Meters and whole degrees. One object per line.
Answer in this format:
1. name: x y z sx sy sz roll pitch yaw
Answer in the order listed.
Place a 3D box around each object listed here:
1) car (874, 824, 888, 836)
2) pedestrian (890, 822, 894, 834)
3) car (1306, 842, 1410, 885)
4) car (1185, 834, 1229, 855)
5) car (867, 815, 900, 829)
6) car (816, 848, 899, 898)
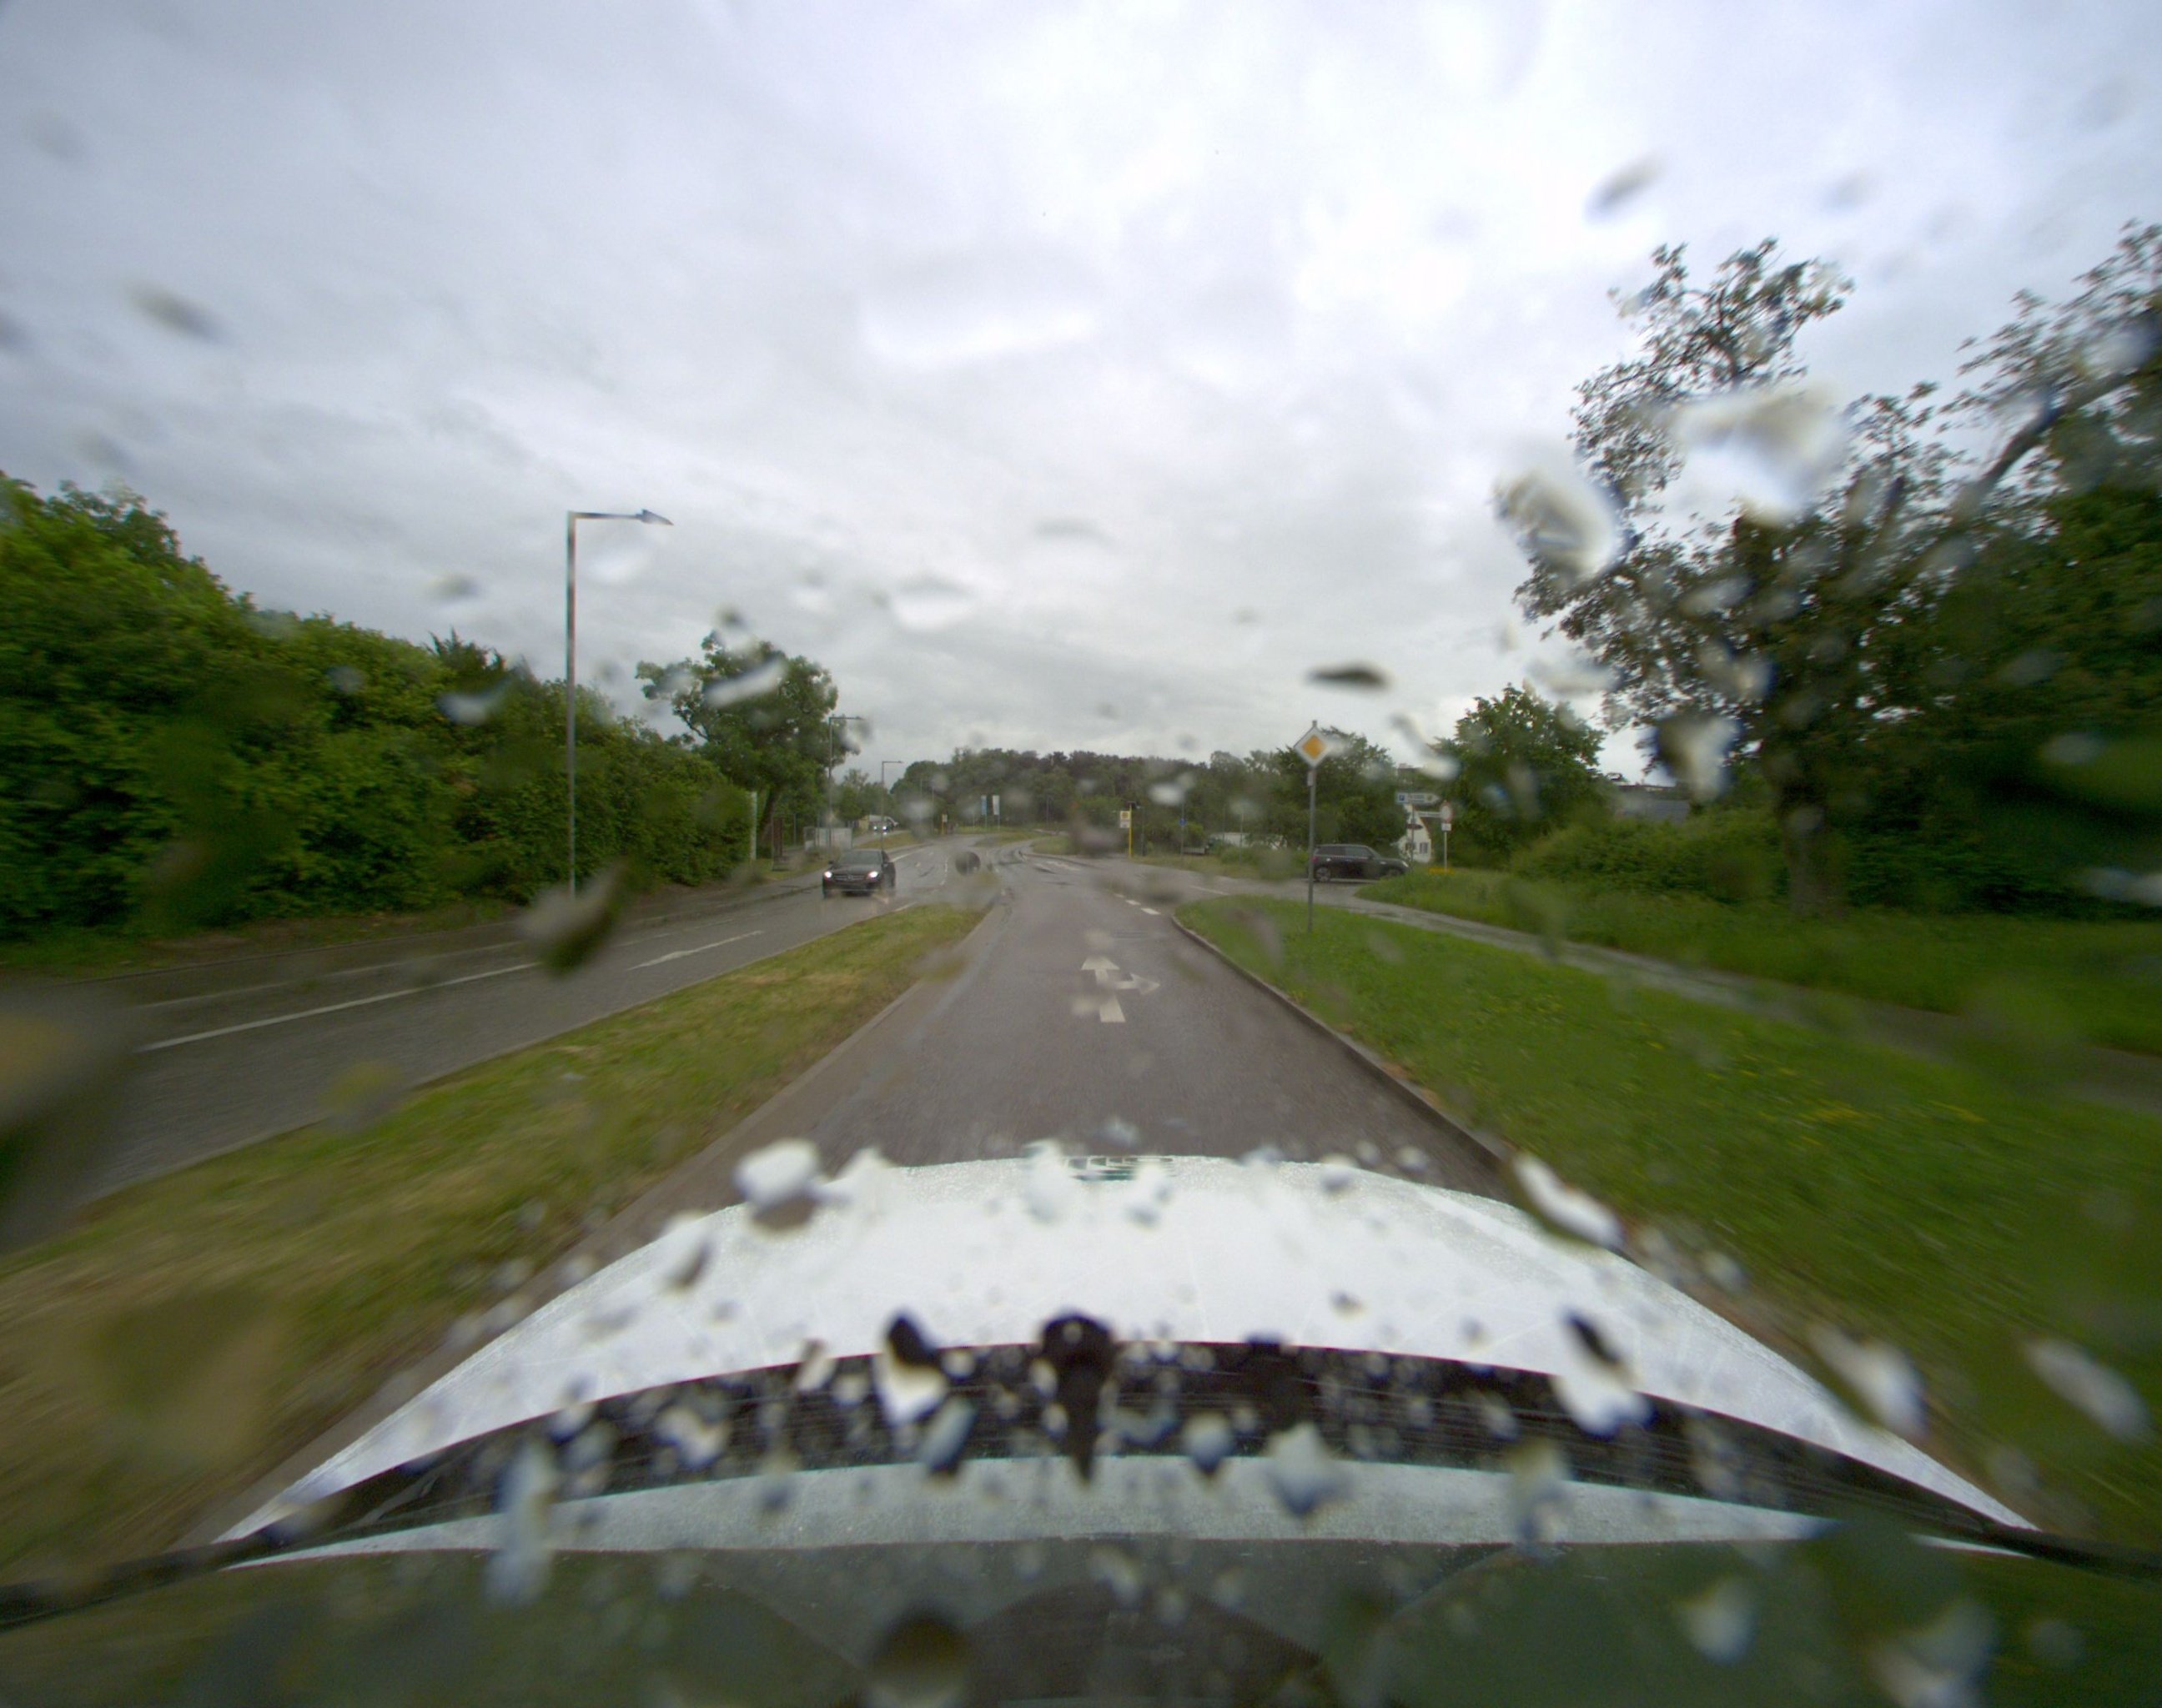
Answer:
1. car: -29.200 -3.462 118.616 1.693 1.620 3.870 0 0 -19
2. pedestrian: -27.748 -3.810 119.638 0.567 1.620 0.633 0 0 -19
3. car: 10.165 0.331 30.059 3.495 1.355 1.466 3 1 17
4. car: 11.546 -0.839 74.611 3.380 1.690 2.012 -1 -4 42
5. car: -36.216 -5.926 149.708 5.672 2.404 1.995 0 0 -8
6. car: -7.184 0.545 26.626 1.966 1.414 4.404 -2 1 -7
